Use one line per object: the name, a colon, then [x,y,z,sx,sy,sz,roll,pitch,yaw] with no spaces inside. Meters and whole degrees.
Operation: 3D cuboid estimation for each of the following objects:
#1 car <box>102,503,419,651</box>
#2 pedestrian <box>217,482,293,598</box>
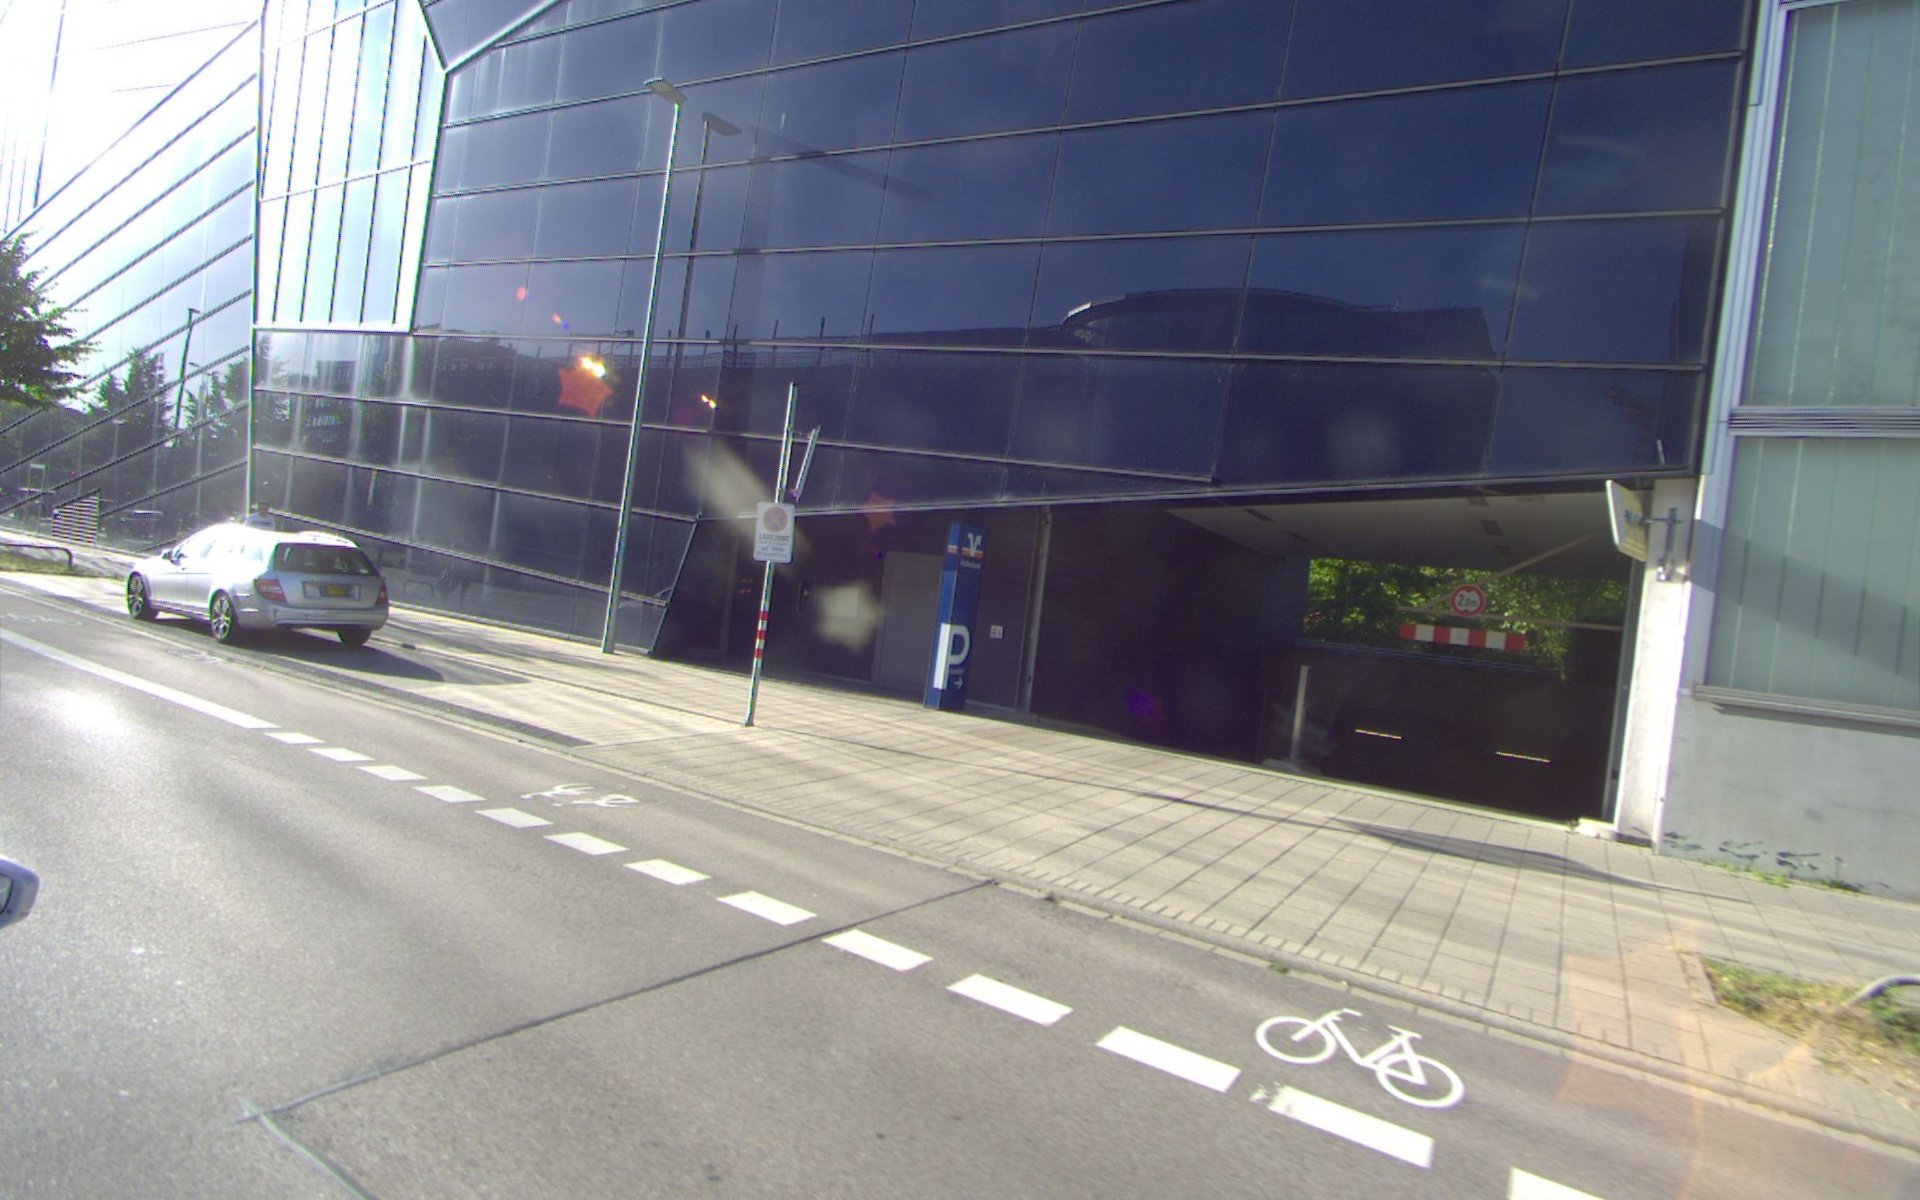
car: [-9.877,-0.349,14.086,4.773,1.500,1.854,7,2,32]
pedestrian: [-13.256,-1.119,18.921,0.678,2.039,0.836,7,2,33]
